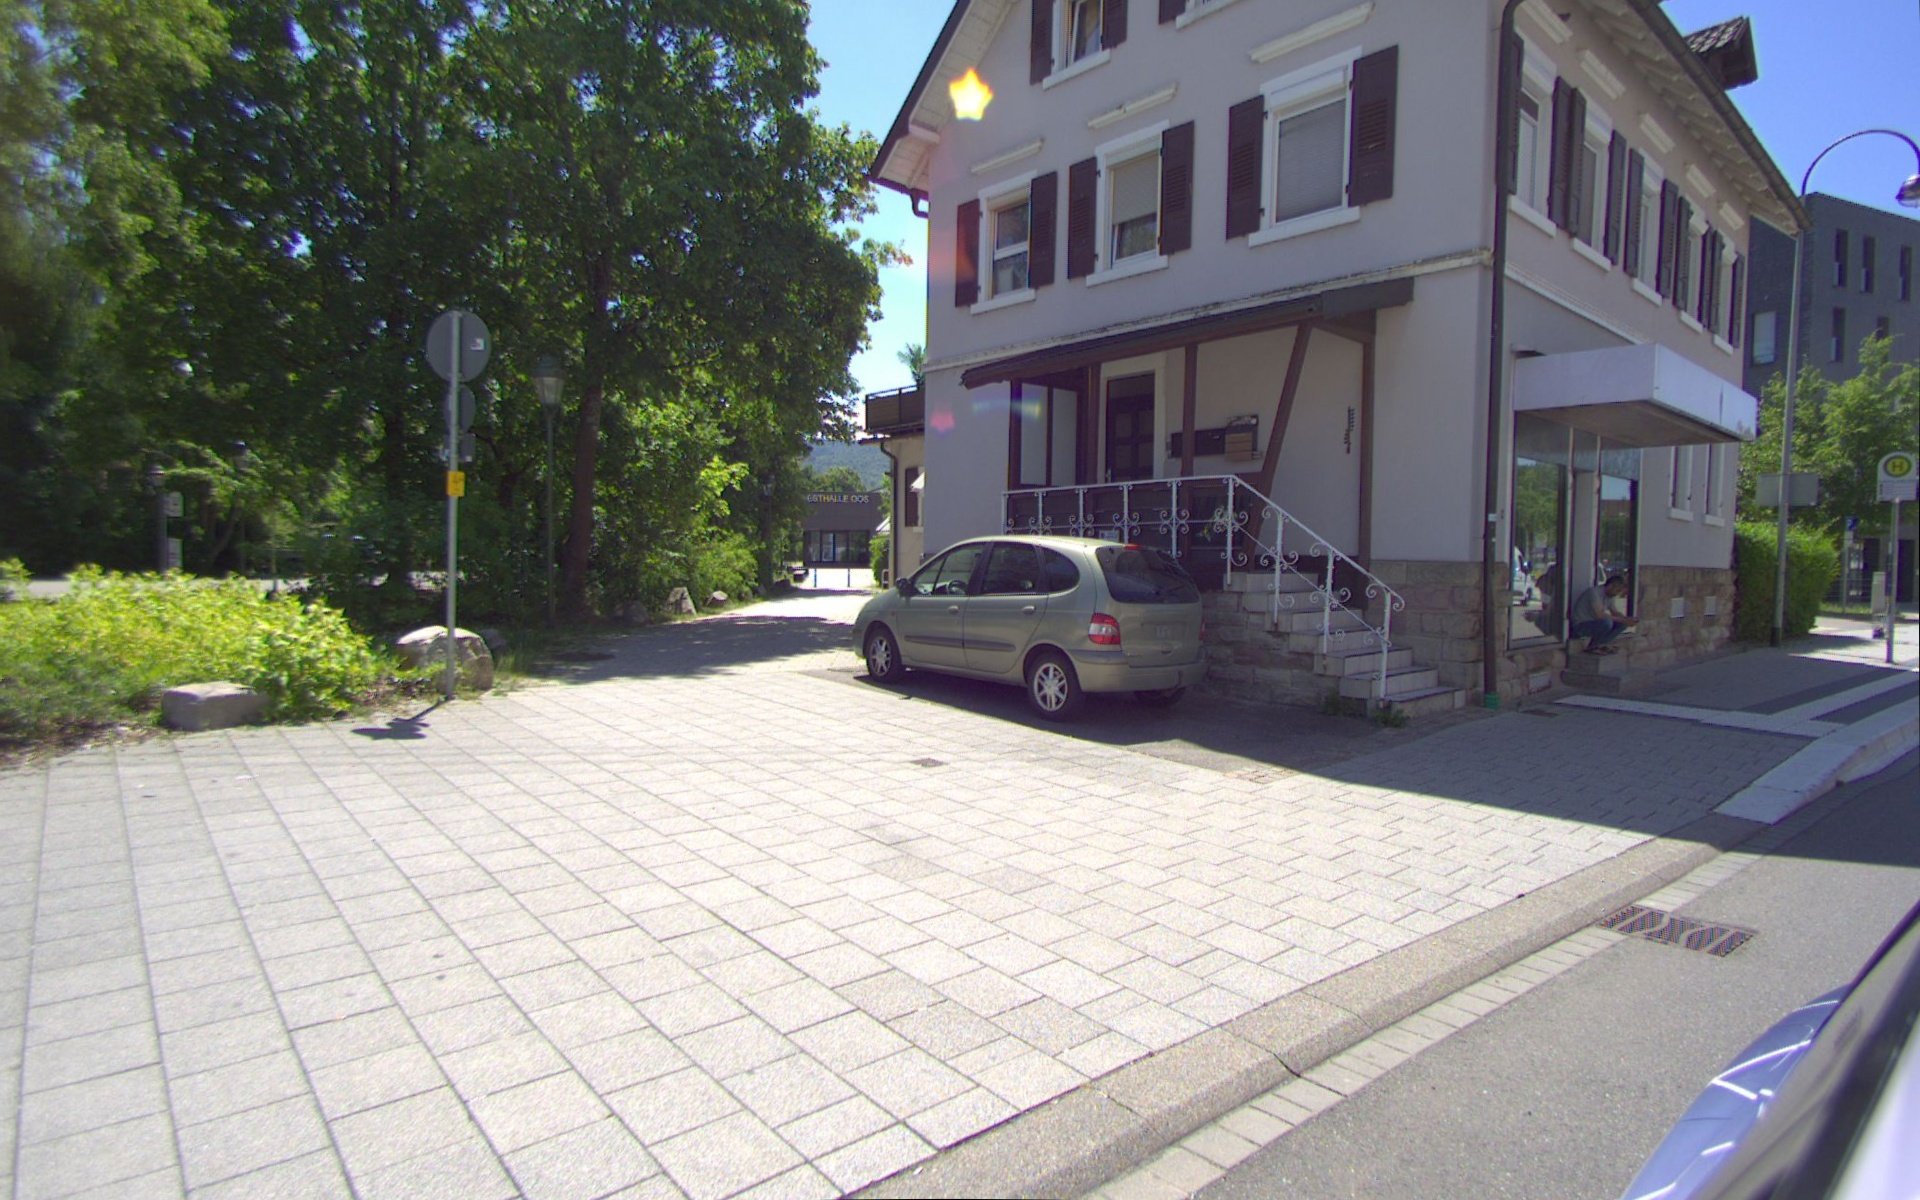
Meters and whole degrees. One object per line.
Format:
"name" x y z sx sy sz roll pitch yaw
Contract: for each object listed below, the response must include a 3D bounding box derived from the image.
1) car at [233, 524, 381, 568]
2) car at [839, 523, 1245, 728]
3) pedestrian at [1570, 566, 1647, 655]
"car" -36.380 -3.014 56.569 6.624 2.266 2.199 0 2 -11
"car" 0.630 0.072 10.324 1.770 1.614 4.072 -1 5 -40
"pedestrian" 7.829 0.111 12.216 0.712 1.011 0.591 -1 4 -43
